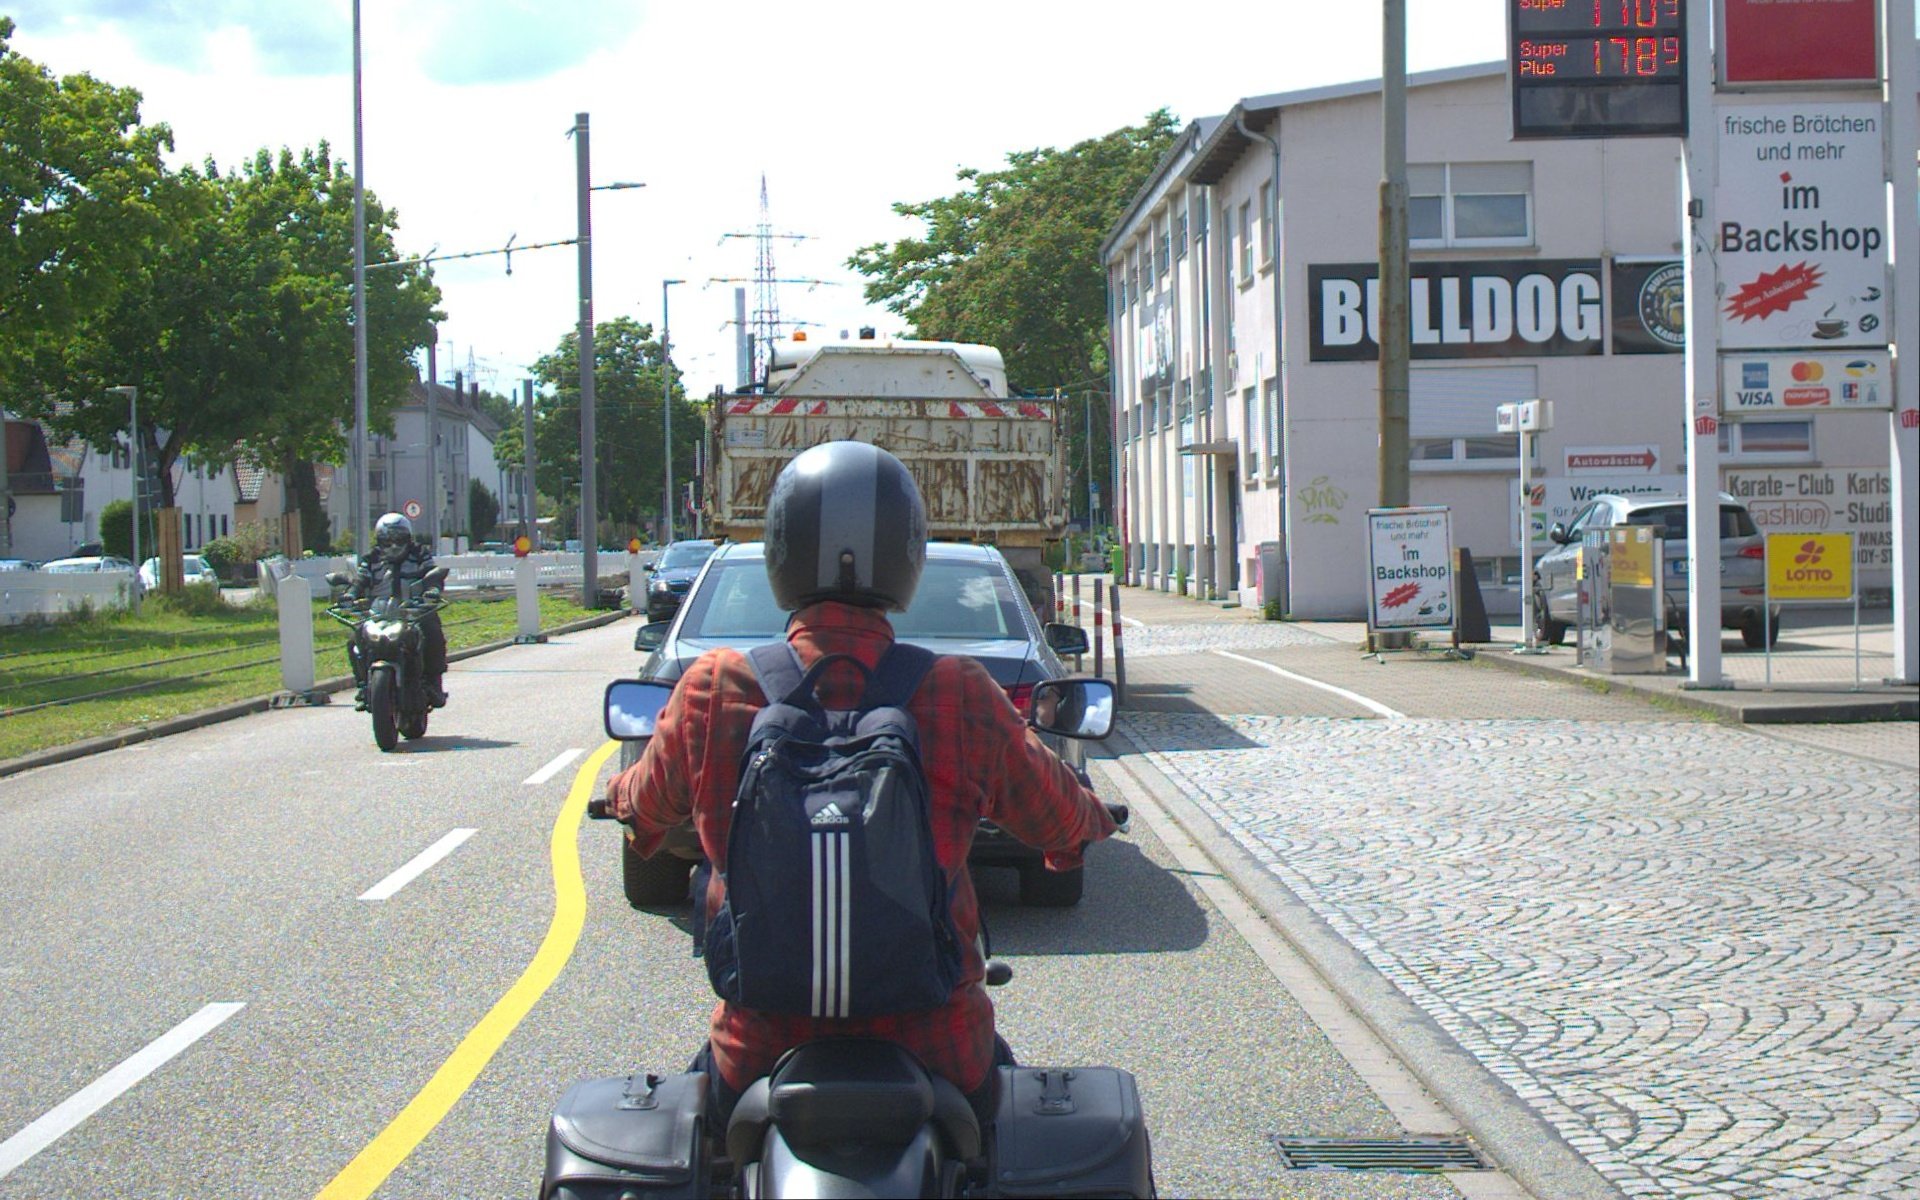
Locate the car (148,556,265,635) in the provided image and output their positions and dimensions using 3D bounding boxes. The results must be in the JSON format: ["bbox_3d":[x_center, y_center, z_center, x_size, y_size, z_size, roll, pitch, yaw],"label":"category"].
[{"bbox_3d":[-17.494,-0.135,79.963,1.776,1.717,4.128,-1,1,0],"label":"car"}]

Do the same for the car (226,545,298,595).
[{"bbox_3d":[-25.416,-1.105,125.245,1.776,1.717,4.128,-1,1,0],"label":"car"}]

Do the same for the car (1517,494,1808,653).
[{"bbox_3d":[7.383,-0.310,36.524,1.667,1.557,4.245,-1,1,-8],"label":"car"}]

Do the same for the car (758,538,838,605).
[{"bbox_3d":[-4.119,-0.747,87.904,1.823,1.596,4.324,-2,1,-1],"label":"car"}]

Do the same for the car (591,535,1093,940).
[{"bbox_3d":[-0.456,0.470,14.633,1.823,1.447,4.000,1,1,-1],"label":"car"}]

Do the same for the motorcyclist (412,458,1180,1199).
[{"bbox_3d":[-0.212,0.611,5.031,0.979,1.597,1.088,-1,1,-1],"label":"motorcyclist"}]

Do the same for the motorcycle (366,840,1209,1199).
[{"bbox_3d":[-0.208,0.953,5.342,0.979,0.894,2.653,-1,1,-1],"label":"motorcycle"}]

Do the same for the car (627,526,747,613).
[{"bbox_3d":[-4.901,-0.583,62.265,1.823,1.447,4.324,-2,1,-1],"label":"car"}]

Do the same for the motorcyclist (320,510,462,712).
[{"bbox_3d":[-3.983,0.065,24.107,0.868,1.373,0.800,-1,1,-3],"label":"motorcyclist"}]

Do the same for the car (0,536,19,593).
[{"bbox_3d":[-30.042,-1.066,104.408,1.776,1.717,4.128,-1,1,0],"label":"car"}]

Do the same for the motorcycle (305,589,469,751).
[{"bbox_3d":[-3.975,0.462,24.013,0.868,1.017,2.245,-1,1,-3],"label":"motorcycle"}]

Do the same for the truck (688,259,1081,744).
[{"bbox_3d":[-0.565,-0.770,27.705,2.638,3.285,8.057,-1,1,-1],"label":"truck"}]

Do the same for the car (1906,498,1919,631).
[{"bbox_3d":[11.738,-0.385,37.094,1.806,1.498,3.834,-1,1,-3],"label":"car"}]
